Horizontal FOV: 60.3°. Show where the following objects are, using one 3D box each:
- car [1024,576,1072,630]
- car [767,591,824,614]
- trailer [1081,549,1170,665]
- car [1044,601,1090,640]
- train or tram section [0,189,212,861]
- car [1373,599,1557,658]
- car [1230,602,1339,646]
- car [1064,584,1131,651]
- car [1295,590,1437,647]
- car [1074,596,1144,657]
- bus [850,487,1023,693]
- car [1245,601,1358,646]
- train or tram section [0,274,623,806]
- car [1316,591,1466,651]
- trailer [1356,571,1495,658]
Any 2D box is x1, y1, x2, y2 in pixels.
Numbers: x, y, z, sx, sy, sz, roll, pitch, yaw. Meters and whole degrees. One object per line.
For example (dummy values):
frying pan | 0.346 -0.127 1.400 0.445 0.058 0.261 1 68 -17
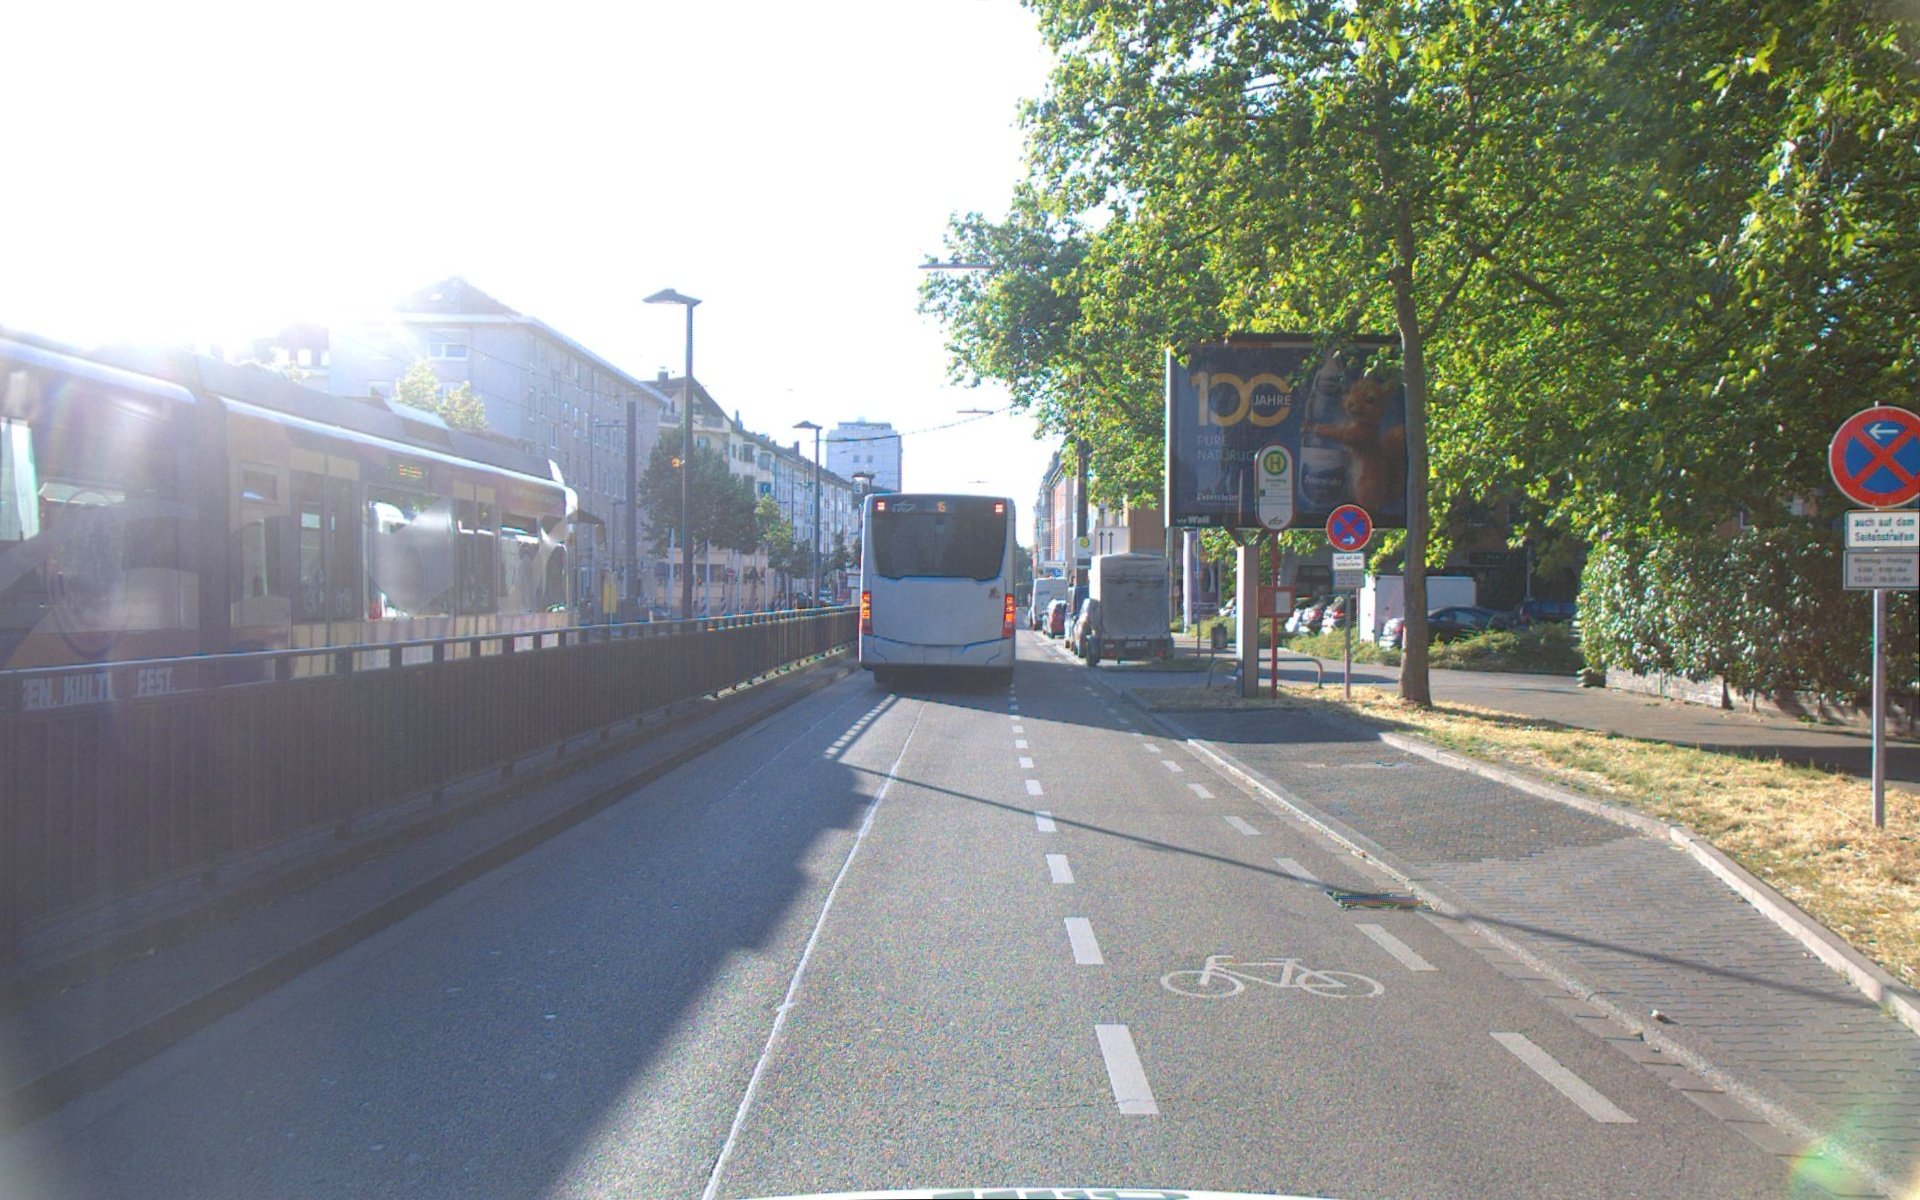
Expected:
car | 4.417 0.164 84.088 2.235 2.673 5.310 0 0 1
car | -12.234 0.185 123.392 4.051 1.646 2.000 0 0 -1
trailer | 3.842 0.152 38.872 1.795 2.602 3.319 0 0 1
car | 4.382 0.817 68.059 1.637 1.488 3.934 -2 0 1
train or tram section | -6.571 -0.395 4.930 2.672 3.611 12.786 0 0 1
car | 11.833 0.666 38.922 3.839 1.359 1.707 0 0 2
car | 12.333 0.903 62.978 3.839 1.616 1.706 0 0 1
car | 4.274 0.532 52.065 1.809 1.991 4.544 0 0 1
car | 12.050 0.539 49.250 3.839 1.666 1.706 0 0 1
car | 4.120 0.721 46.073 1.665 1.616 3.828 0 0 1
bus | -0.243 -0.181 31.076 2.677 3.194 10.705 0 0 1
car | 12.491 0.837 60.636 3.839 1.616 1.706 0 0 1
train or tram section | -6.398 -0.419 17.806 2.586 3.581 13.335 0 0 1
car | 12.180 0.577 46.886 3.839 1.665 1.706 0 0 1
trailer | 11.682 0.349 41.614 3.000 2.106 1.879 1 0 2
